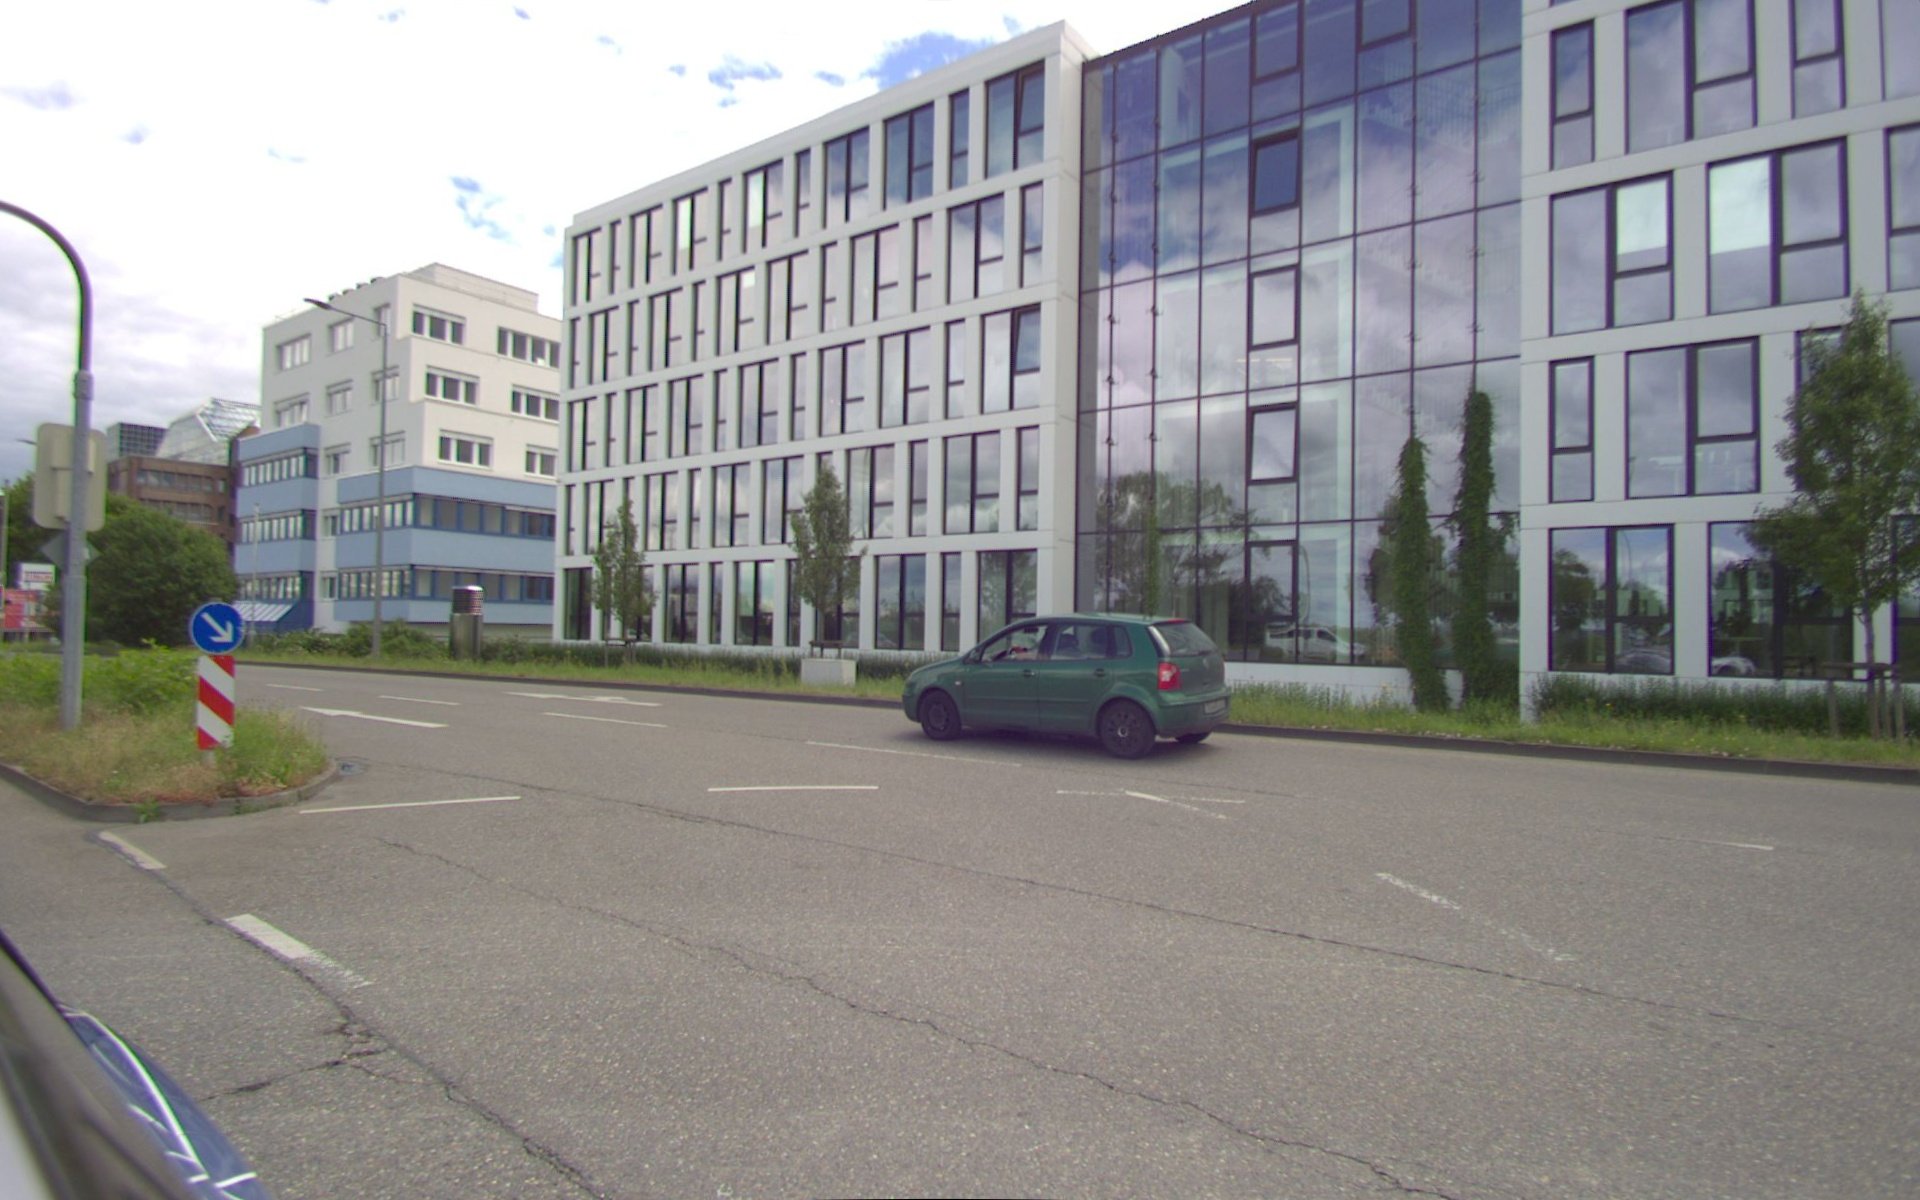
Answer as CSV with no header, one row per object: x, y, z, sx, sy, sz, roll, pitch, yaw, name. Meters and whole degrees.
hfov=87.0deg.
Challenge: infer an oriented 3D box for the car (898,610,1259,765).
1.230,0.857,11.339,3.748,1.443,1.590,-1,-1,39,car
